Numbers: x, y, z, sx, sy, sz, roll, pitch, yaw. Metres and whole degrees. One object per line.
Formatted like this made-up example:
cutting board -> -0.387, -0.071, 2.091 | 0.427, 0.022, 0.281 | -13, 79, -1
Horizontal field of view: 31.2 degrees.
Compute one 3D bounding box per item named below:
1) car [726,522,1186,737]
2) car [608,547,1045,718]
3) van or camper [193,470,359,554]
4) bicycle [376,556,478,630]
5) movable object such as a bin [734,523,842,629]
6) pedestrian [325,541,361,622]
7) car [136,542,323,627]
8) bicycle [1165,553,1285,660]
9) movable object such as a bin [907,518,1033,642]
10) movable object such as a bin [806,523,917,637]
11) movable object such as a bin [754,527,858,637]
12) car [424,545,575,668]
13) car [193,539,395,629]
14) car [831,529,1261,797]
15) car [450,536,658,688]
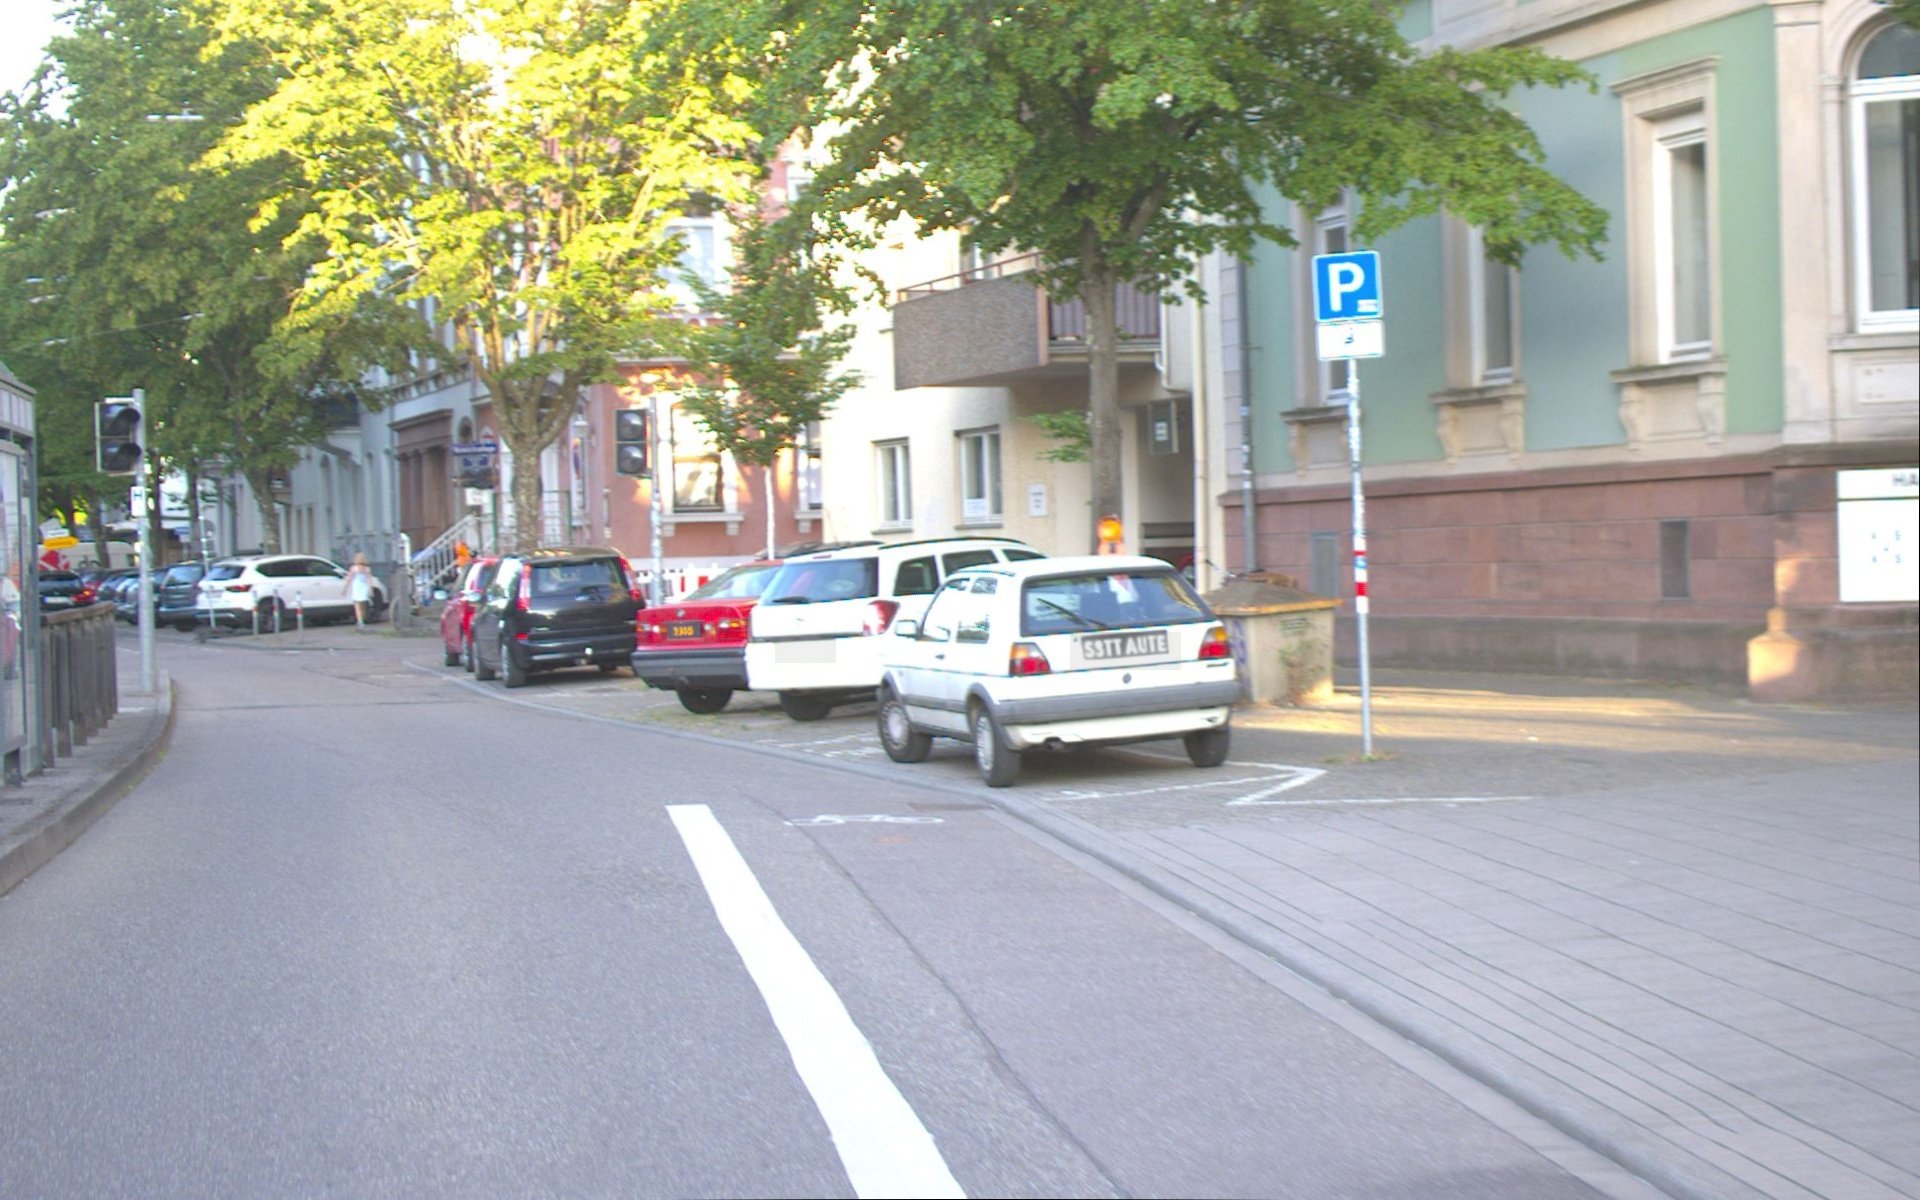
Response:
car -> 0.037, 0.198, 30.198 | 1.720, 1.719, 4.200 | 0, 2, 40
car -> -1.196, 0.267, 32.509 | 1.644, 1.449, 4.200 | 0, 1, 42
van or camper -> -23.866, -3.089, 120.170 | 2.084, 2.521, 5.539 | -3, 2, 37
bicycle -> -9.651, -0.128, 62.330 | 0.601, 1.262, 1.914 | -1, 1, 37
movable object such as a bin -> -2.521, -0.352, 50.133 | 1.140, 1.497, 1.598 | -1, 1, -19
pedestrian -> -12.429, -0.372, 69.231 | 0.586, 1.604, 0.625 | -2, 1, -18
car -> -17.047, -0.386, 80.369 | 1.899, 1.662, 3.948 | -3, 2, 35
bicycle -> 2.724, 0.059, 35.505 | 0.650, 1.071, 1.556 | -1, 1, -19
movable object such as a bin -> 0.117, -0.255, 42.676 | 1.113, 1.497, 1.482 | -1, 1, -19
movable object such as a bin -> -1.344, -0.280, 46.639 | 1.140, 1.497, 1.271 | -1, 1, -19
movable object such as a bin -> -2.152, -0.260, 47.944 | 1.072, 1.497, 1.319 | -1, 1, -21
car -> -6.344, 0.060, 47.131 | 1.564, 1.530, 3.694 | -4, 1, -14
car -> -14.153, -0.353, 73.159 | 1.672, 1.621, 3.946 | -1, 3, 41
car -> 0.482, 0.365, 23.458 | 1.679, 1.547, 4.001 | -5, 2, -16
car -> -4.921, 0.118, 41.243 | 1.743, 1.626, 4.089 | -4, 2, -16
